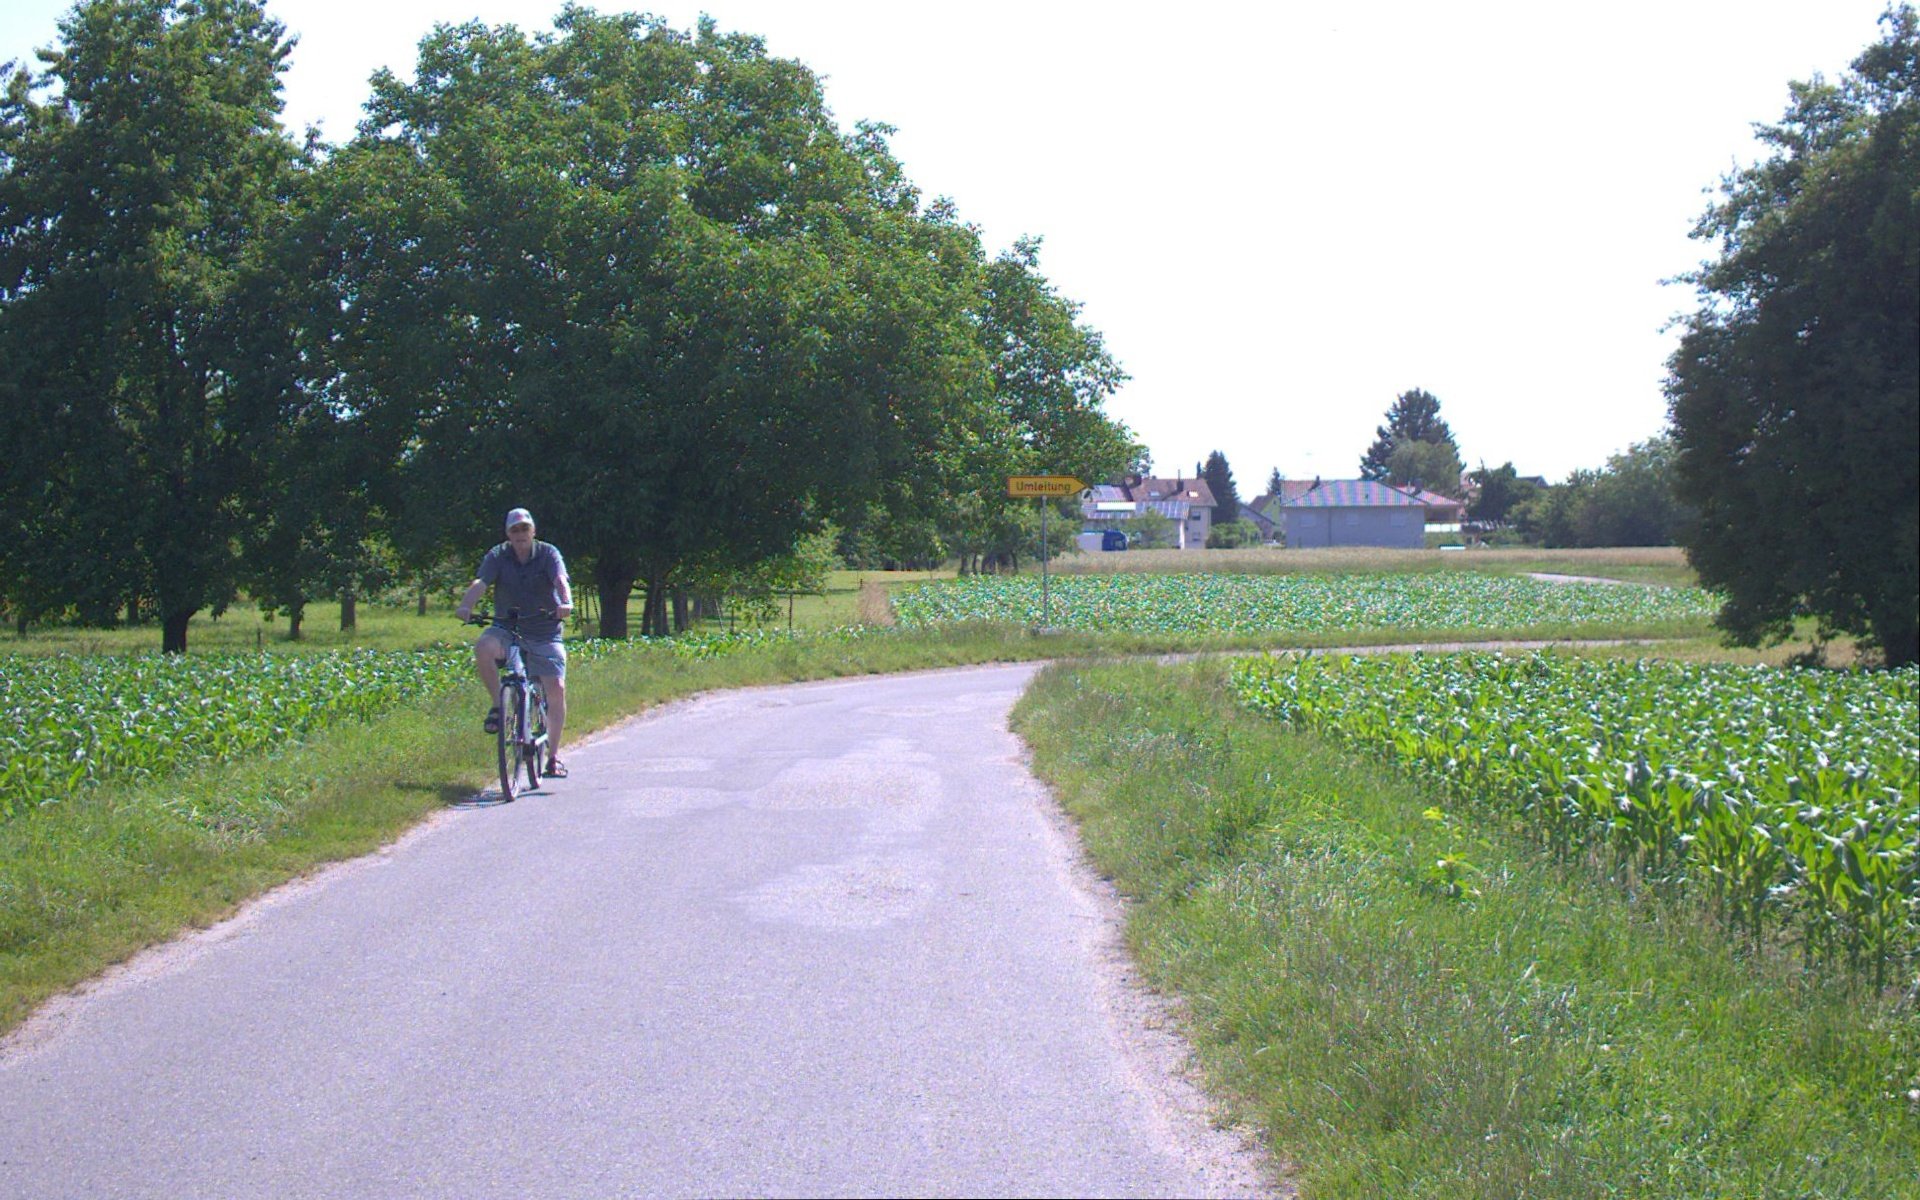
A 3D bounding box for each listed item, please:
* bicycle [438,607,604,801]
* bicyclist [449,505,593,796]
[{"bbox_3d":[-2.759,0.633,21.780,0.750,1.123,1.908,-2,1,0],"label":"bicycle"},{"bbox_3d":[-2.766,0.308,21.733,0.750,1.785,0.717,-2,1,0],"label":"bicyclist"}]
